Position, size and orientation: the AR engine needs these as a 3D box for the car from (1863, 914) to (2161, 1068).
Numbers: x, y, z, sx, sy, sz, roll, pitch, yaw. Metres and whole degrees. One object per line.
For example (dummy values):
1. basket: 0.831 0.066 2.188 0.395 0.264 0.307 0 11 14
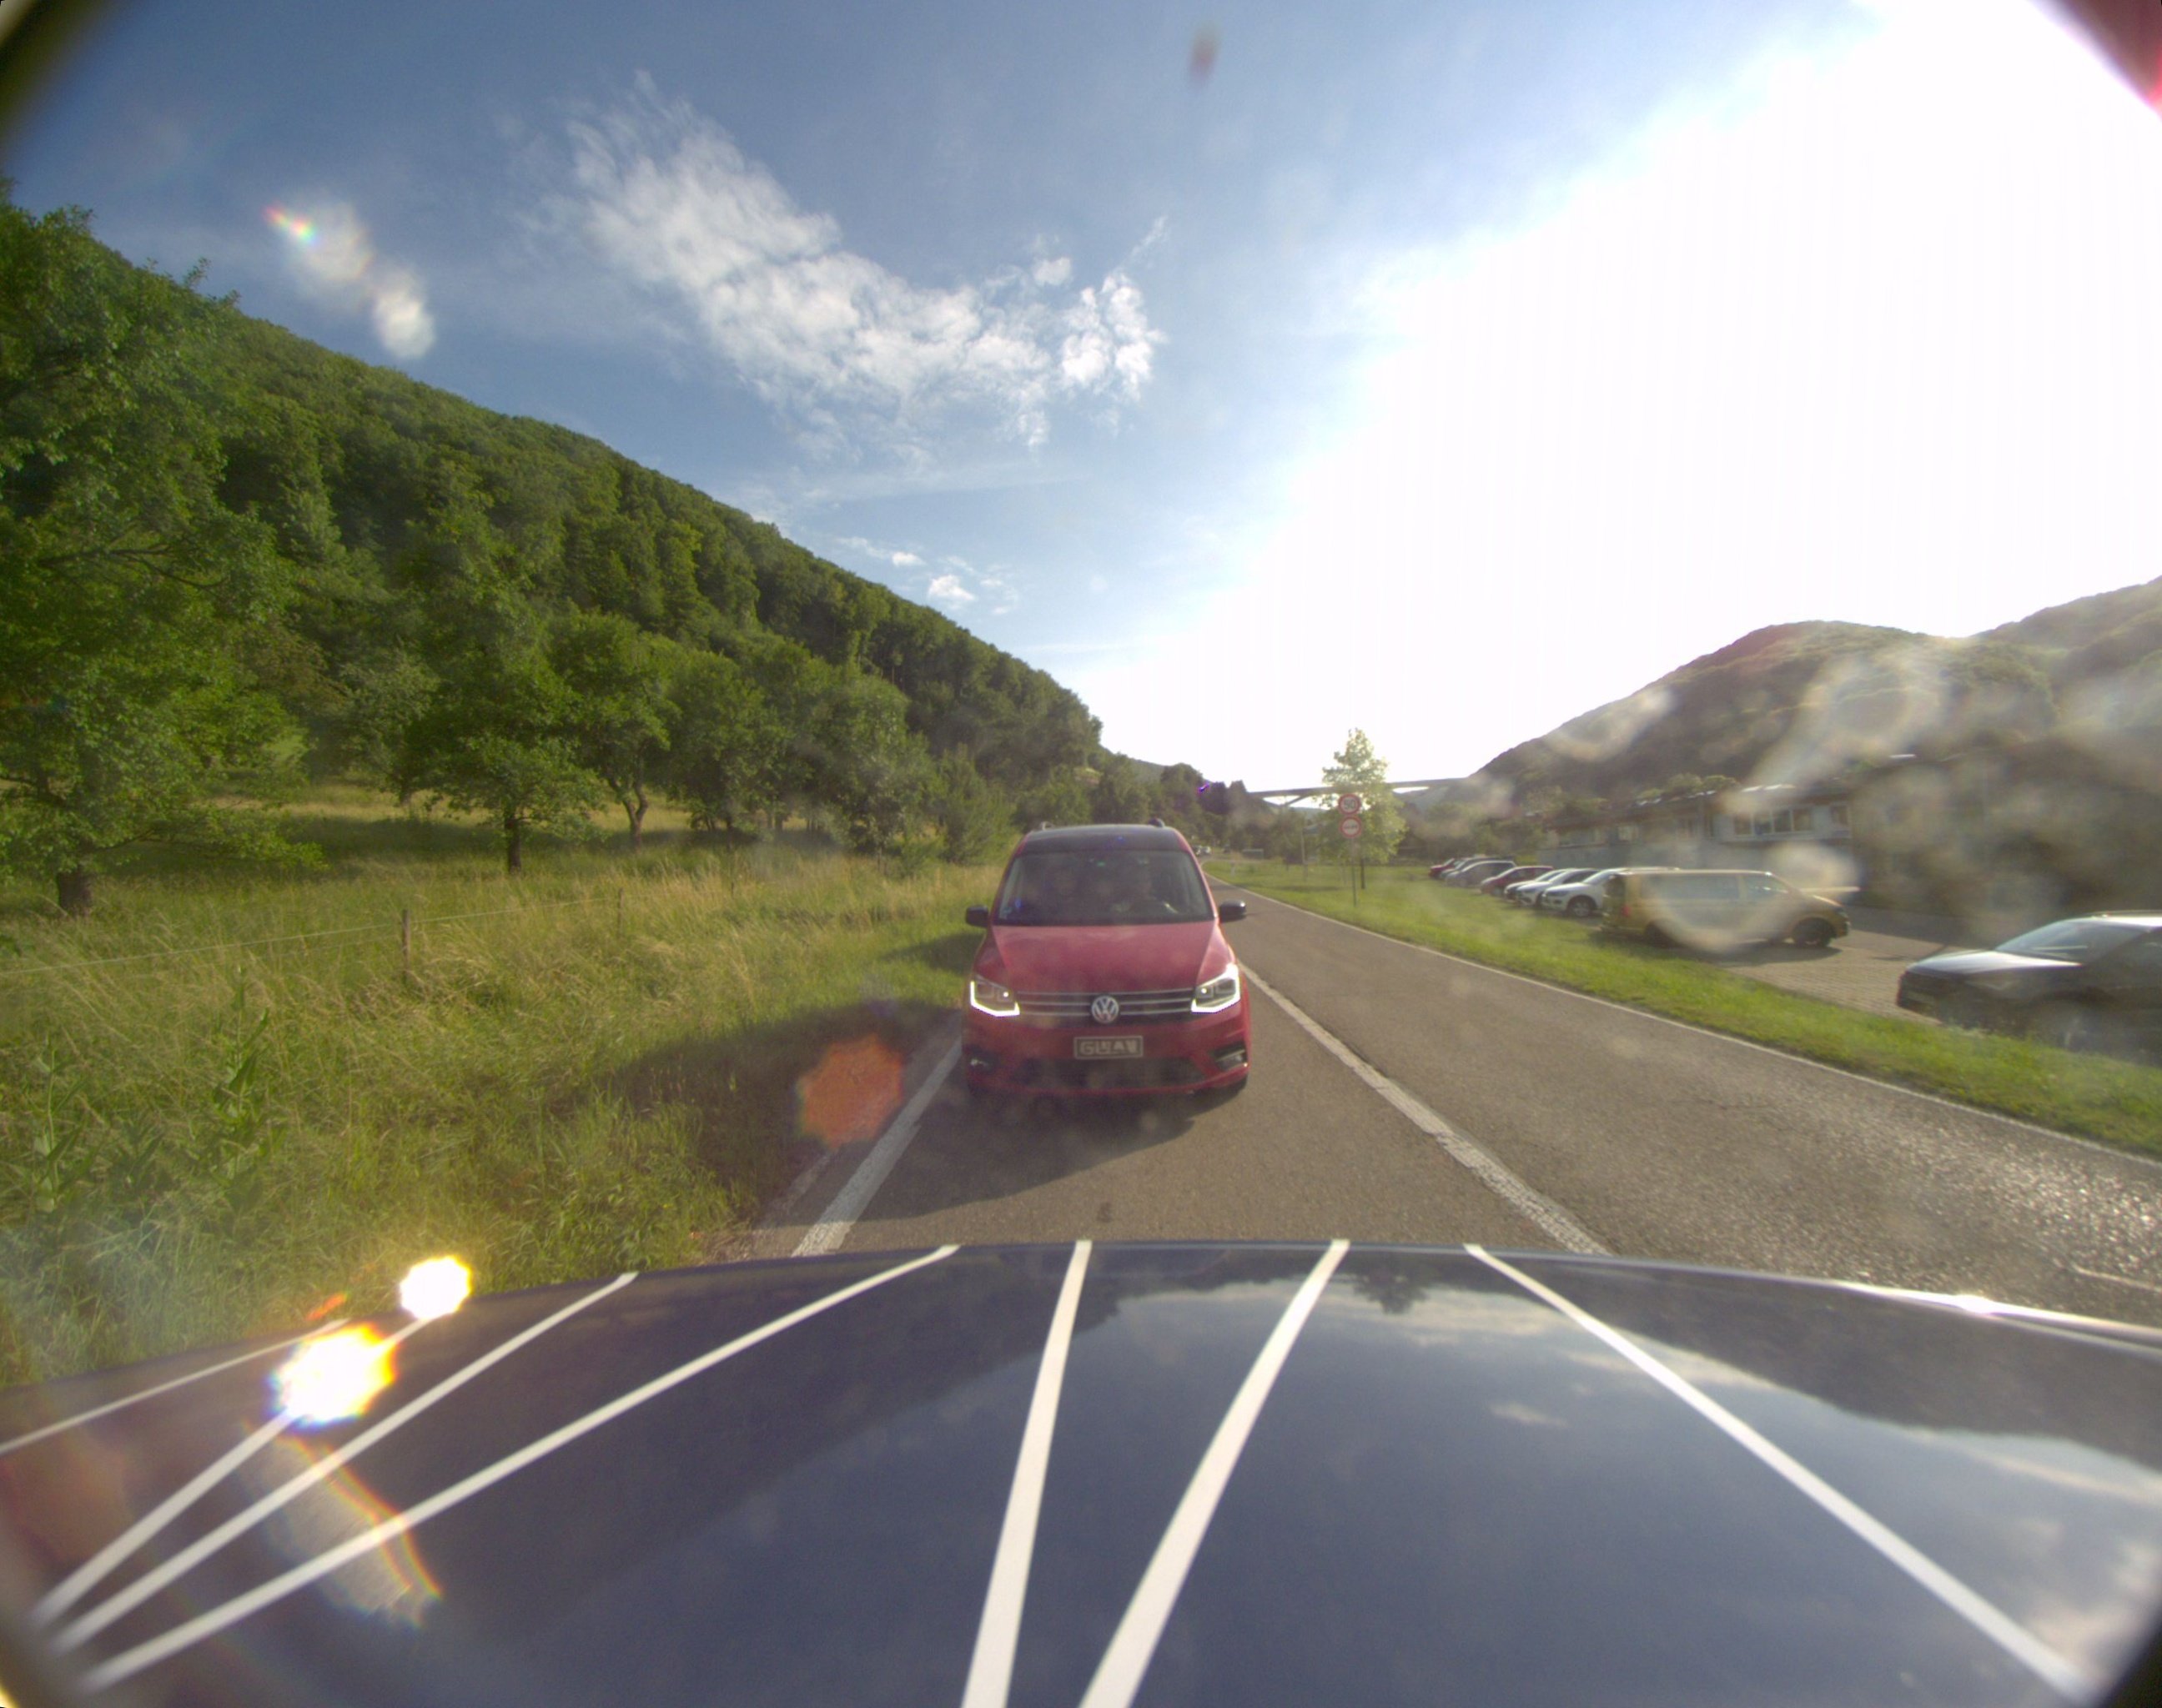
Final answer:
1. car: 13.500 1.703 9.836 4.289 1.628 1.915 -3 0 15

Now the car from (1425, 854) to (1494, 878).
1. car: 28.882 0.926 58.091 4.437 1.709 2.003 -1 0 18

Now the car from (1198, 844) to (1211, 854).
1. car: 23.034 -0.960 142.054 1.996 1.706 4.005 -2 -1 14

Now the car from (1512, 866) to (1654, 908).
1. car: 20.193 1.317 30.778 4.437 1.577 2.003 -1 0 20

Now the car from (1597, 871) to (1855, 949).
1. car: 16.343 1.374 19.584 4.653 1.802 2.003 -1 0 20

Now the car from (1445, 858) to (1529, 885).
1. car: 25.796 1.105 48.455 4.437 1.573 2.003 -2 0 18

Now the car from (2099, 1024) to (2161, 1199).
1. car: 12.081 2.397 5.997 4.645 1.488 1.915 -1 0 15

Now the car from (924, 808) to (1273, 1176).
1. car: 0.117 0.731 6.103 1.747 1.849 4.348 -2 0 1

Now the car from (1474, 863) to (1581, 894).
1. car: 22.695 1.240 38.808 4.437 1.443 2.003 -1 0 20

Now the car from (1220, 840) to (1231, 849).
1. car: 32.243 -2.024 169.671 1.909 1.893 4.004 -2 1 18

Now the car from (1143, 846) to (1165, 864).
1. car: 7.031 0.126 73.120 1.912 1.675 4.002 -2 -1 7

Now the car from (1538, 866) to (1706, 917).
1. car: 19.318 1.320 27.380 4.545 1.691 2.003 -1 0 20

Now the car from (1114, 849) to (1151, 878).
1. car: 2.806 0.523 42.301 1.798 1.464 4.283 -2 0 1

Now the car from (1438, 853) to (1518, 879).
1. car: 27.593 0.838 52.917 4.665 1.752 2.003 -1 0 18

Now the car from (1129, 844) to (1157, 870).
1. car: 4.609 0.248 56.944 1.998 1.838 4.001 -2 0 4

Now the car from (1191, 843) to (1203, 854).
1. car: 19.602 -0.927 128.470 1.677 1.637 3.349 -2 0 12

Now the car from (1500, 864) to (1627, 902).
1. car: 21.402 1.264 33.933 4.437 1.573 2.003 -1 0 18

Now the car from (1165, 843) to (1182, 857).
1. car: 12.254 -0.509 100.704 1.797 1.725 4.287 -2 0 13
